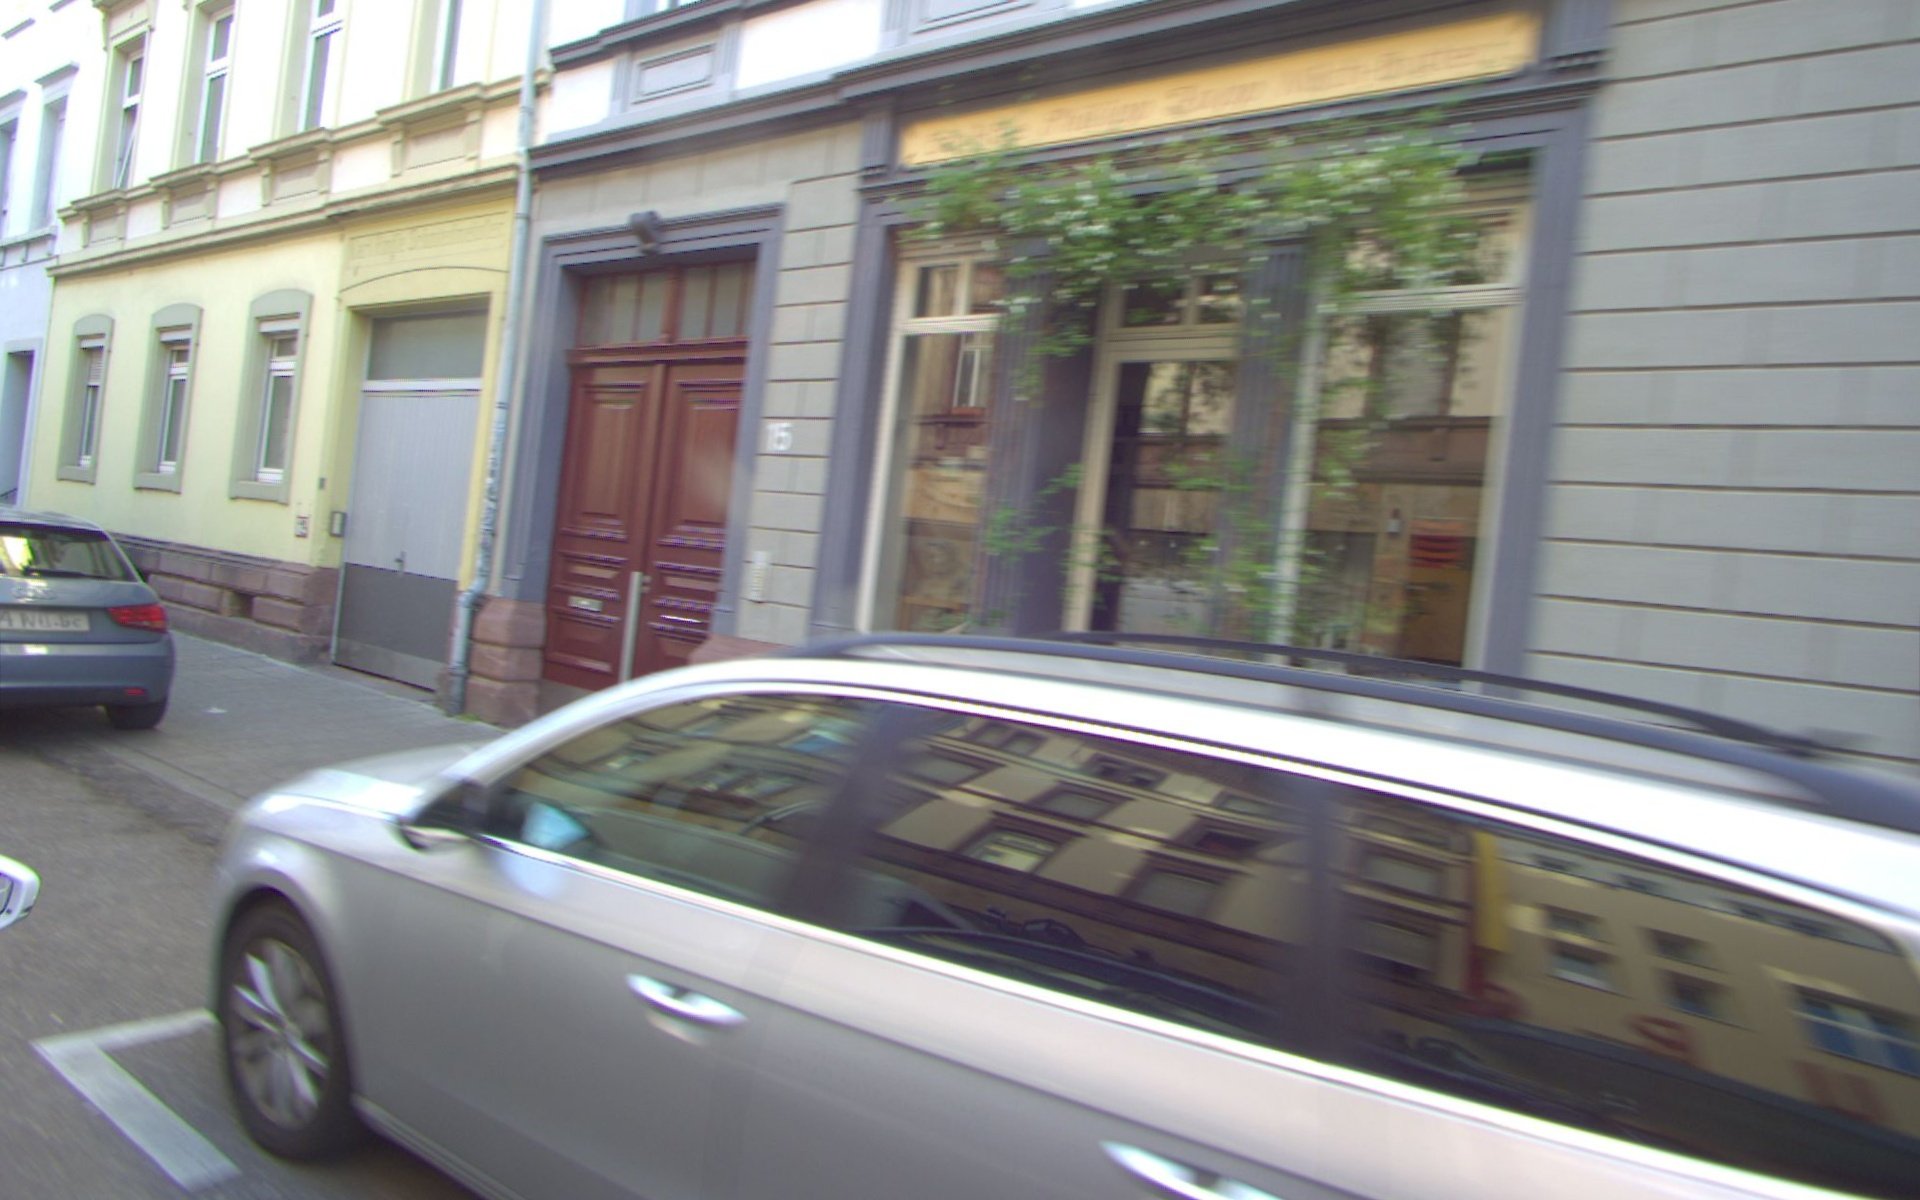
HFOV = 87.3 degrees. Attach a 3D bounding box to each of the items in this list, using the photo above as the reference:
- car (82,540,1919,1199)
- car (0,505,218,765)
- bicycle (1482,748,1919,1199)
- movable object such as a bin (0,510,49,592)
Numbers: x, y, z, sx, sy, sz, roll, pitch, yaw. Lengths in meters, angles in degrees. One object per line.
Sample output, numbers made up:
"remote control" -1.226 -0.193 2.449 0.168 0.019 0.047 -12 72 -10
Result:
"car" -0.123 0.813 2.480 4.471 1.474 1.786 7 2 31
"car" -7.157 0.031 6.985 4.103 1.461 1.750 7 -1 32
"bicycle" 2.882 1.239 3.396 1.869 1.112 0.711 6 2 30
"movable object such as a bin" -12.984 -0.677 13.553 0.696 1.057 0.863 7 3 30
